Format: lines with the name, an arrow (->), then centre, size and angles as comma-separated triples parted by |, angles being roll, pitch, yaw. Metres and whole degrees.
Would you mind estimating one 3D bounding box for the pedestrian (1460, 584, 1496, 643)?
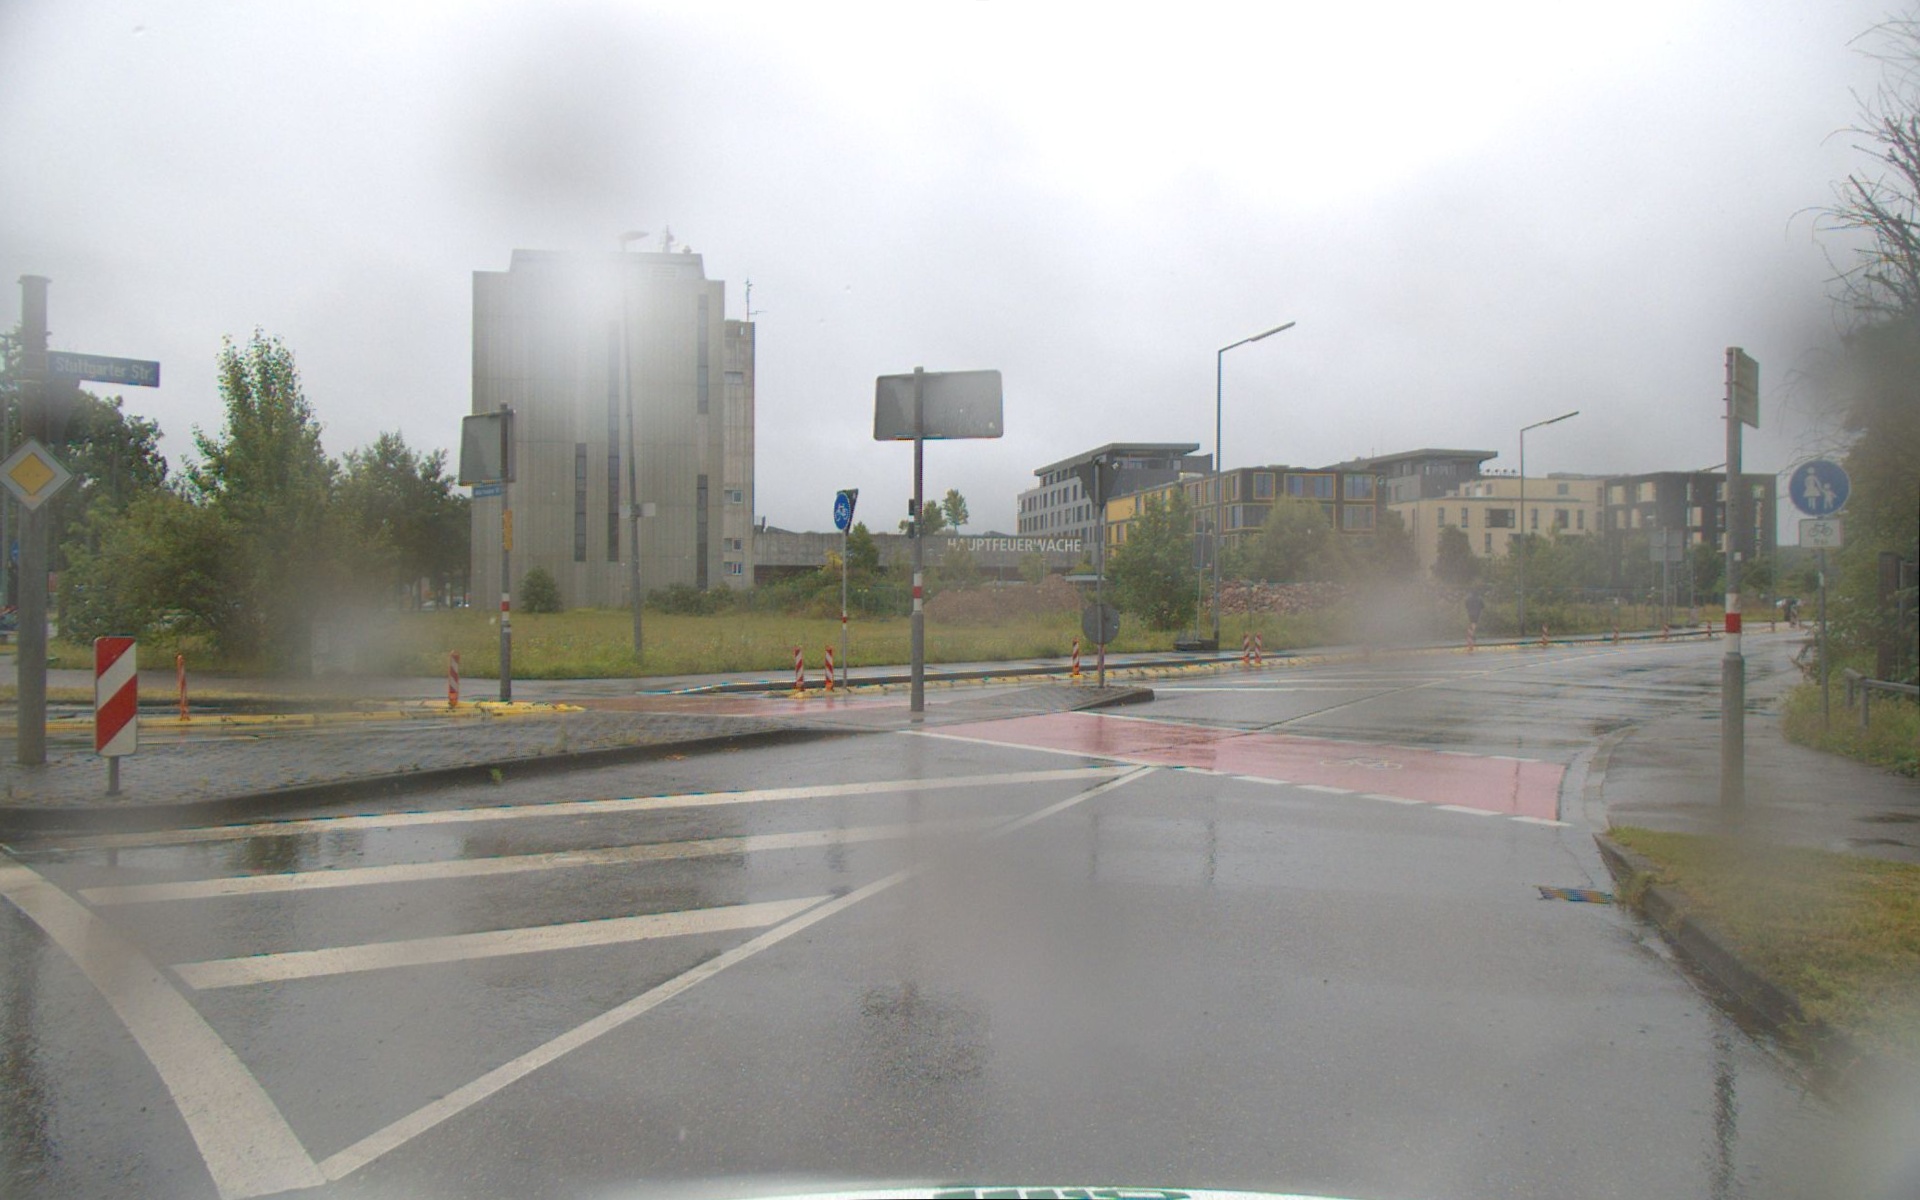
pedestrian -> 18.427, 0.472, 58.780 | 0.833, 2.049, 1.125 | 0, -3, 40
